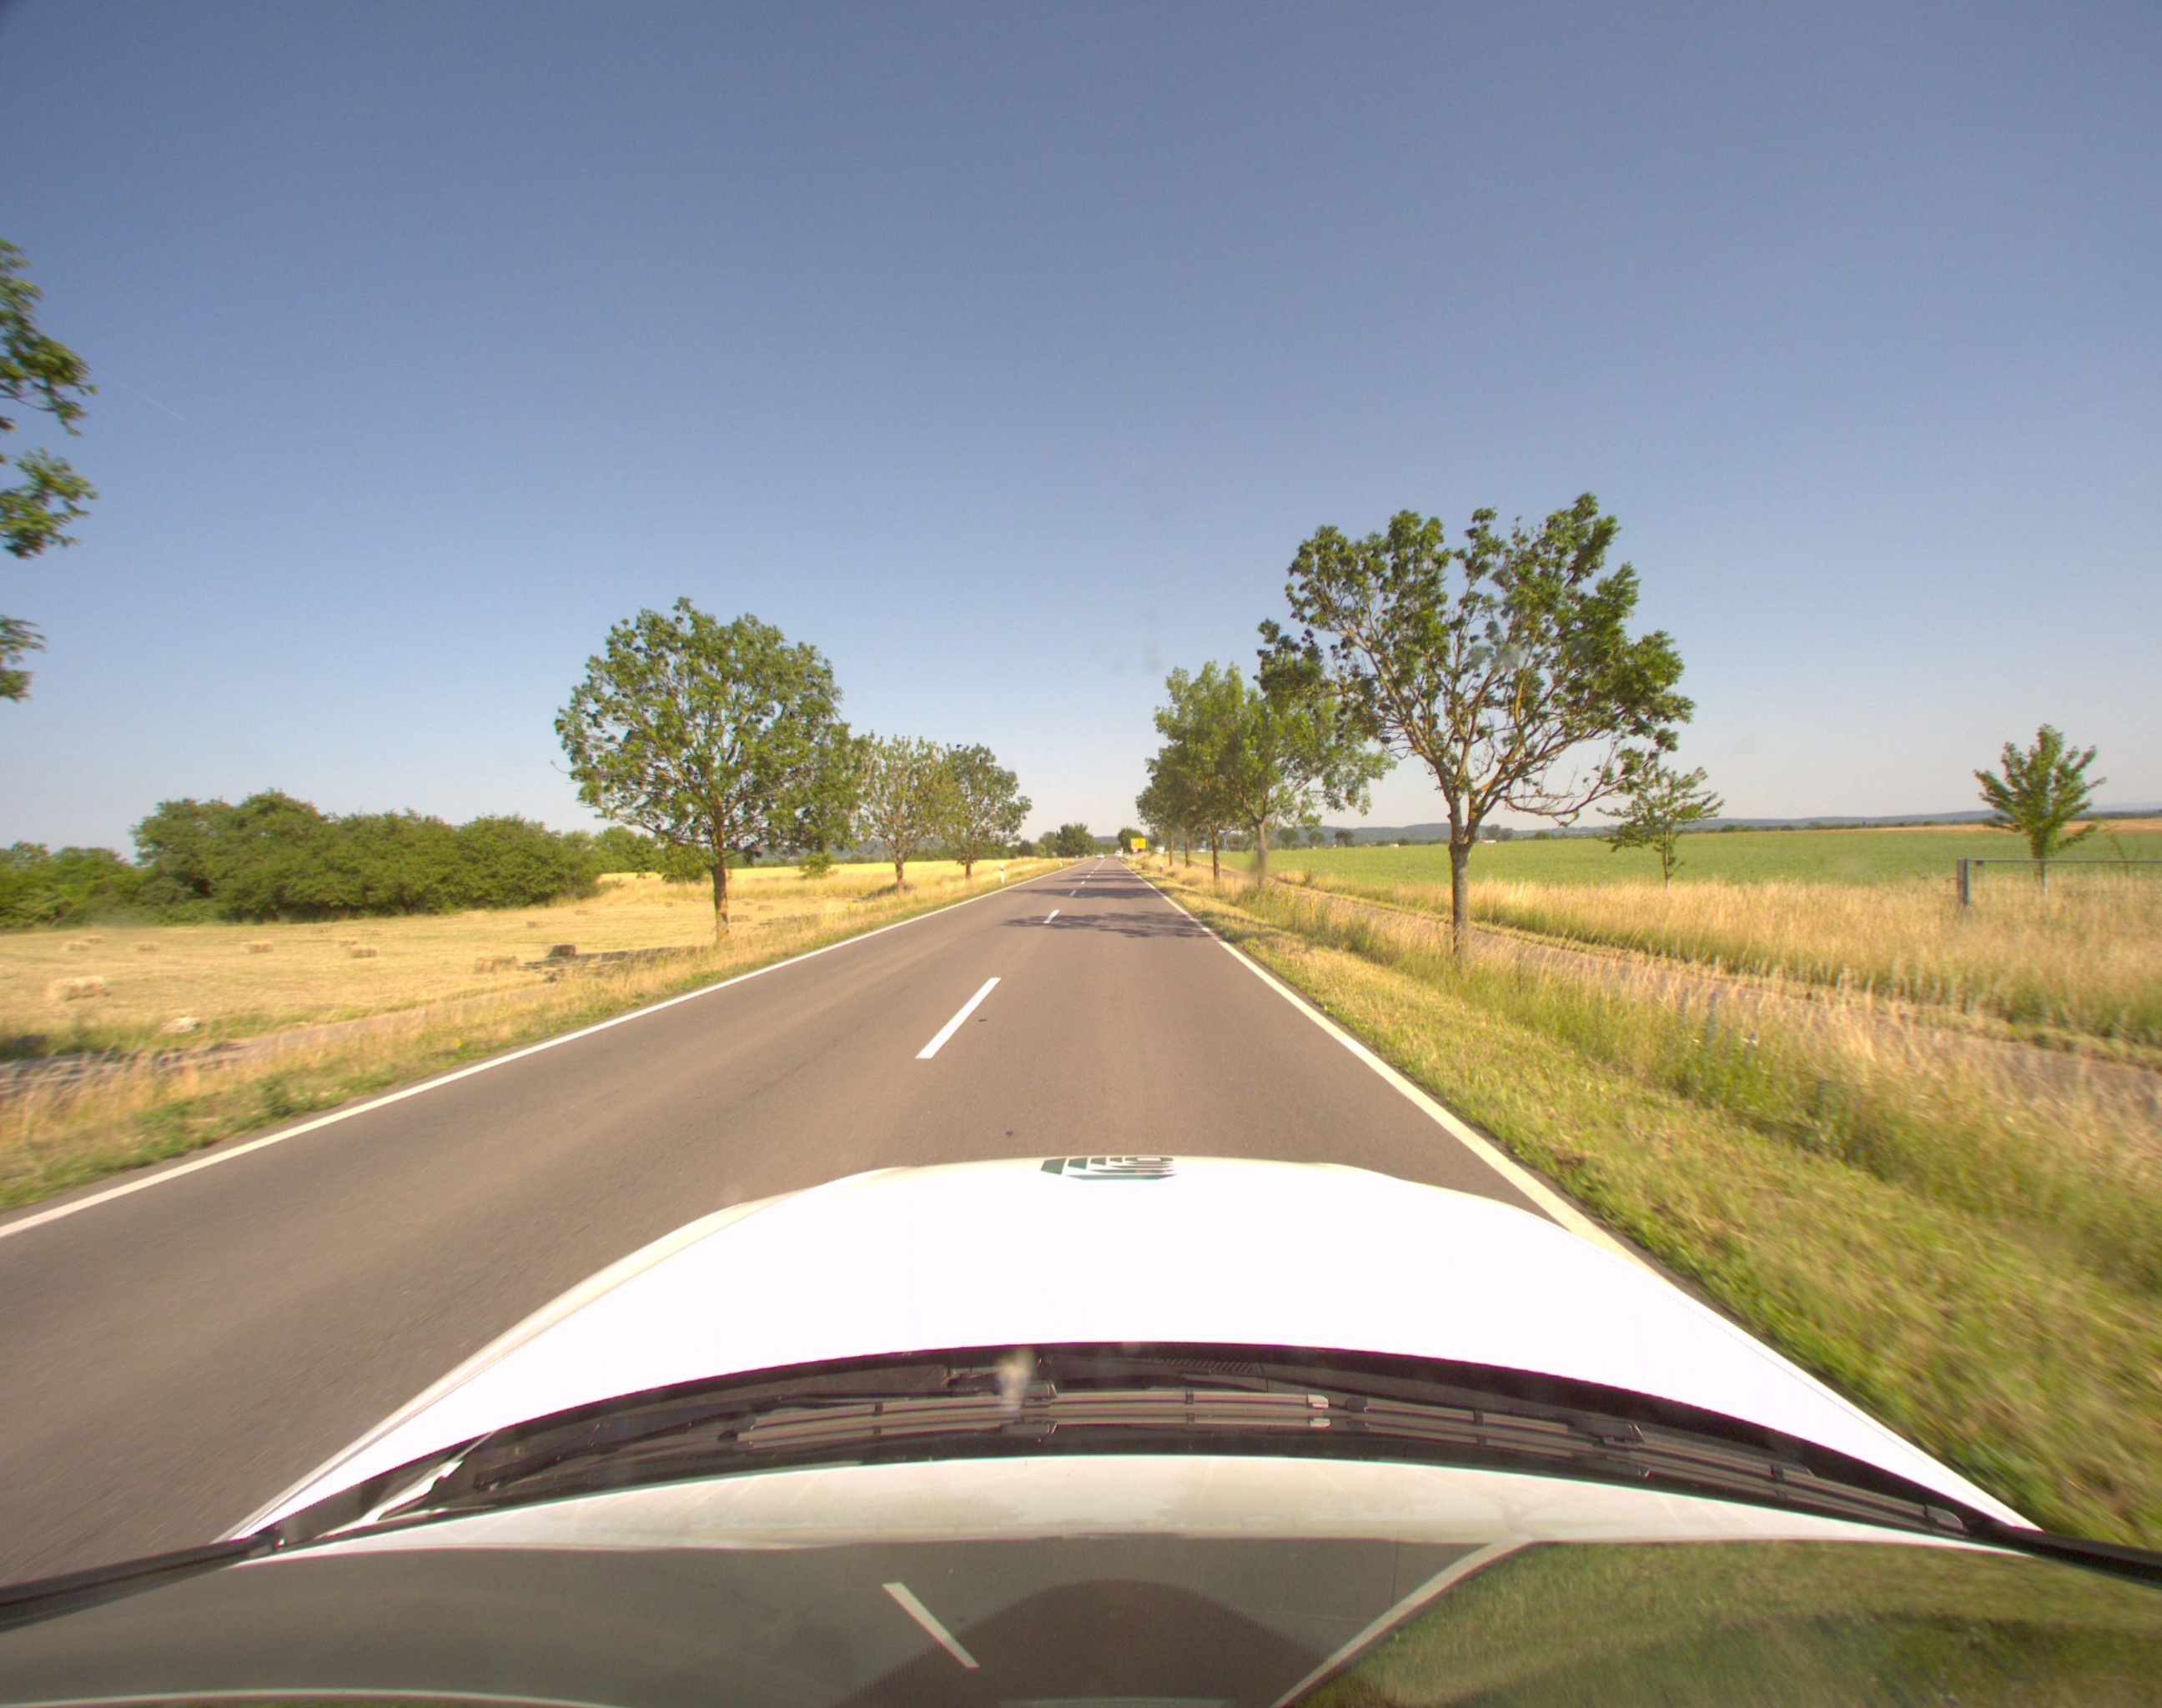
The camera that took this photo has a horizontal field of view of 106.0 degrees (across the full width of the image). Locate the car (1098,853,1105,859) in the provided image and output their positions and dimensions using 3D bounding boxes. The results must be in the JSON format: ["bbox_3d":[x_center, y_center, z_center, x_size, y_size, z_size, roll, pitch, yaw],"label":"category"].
[{"bbox_3d":[5.640,0.535,226.477,1.720,1.437,4.516,-1,0,1],"label":"car"}]
